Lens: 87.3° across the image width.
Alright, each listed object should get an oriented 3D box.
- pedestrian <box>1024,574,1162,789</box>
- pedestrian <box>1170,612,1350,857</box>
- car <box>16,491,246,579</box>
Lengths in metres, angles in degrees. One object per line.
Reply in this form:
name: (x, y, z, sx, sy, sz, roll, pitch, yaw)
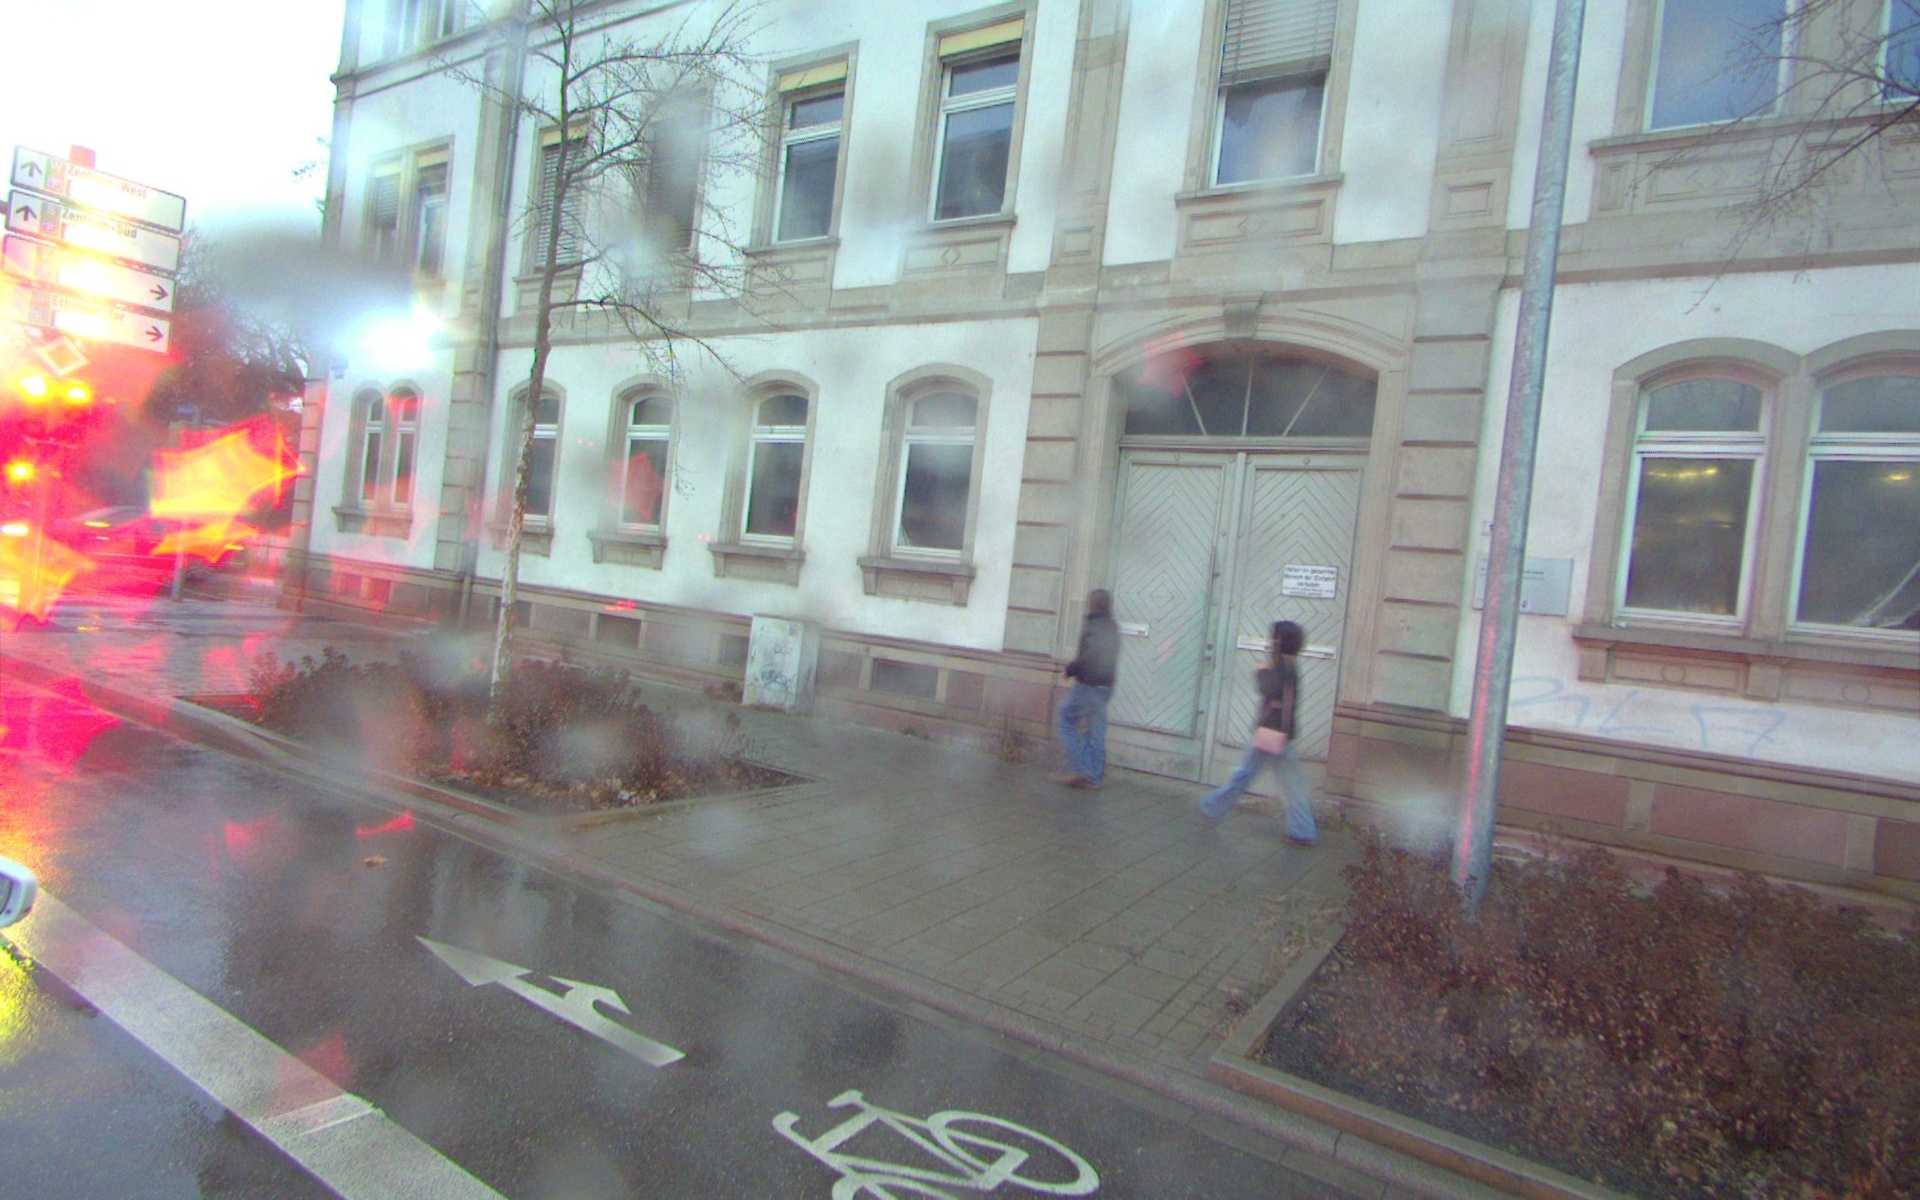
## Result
pedestrian: (1.158, 0.685, 8.674, 0.695, 1.694, 0.869, 7, 1, 33)
pedestrian: (2.205, 0.938, 7.363, 0.914, 1.564, 0.869, 7, 1, 32)
car: (-20.024, -1.530, 24.462, 4.078, 1.458, 1.819, 8, -2, -41)
